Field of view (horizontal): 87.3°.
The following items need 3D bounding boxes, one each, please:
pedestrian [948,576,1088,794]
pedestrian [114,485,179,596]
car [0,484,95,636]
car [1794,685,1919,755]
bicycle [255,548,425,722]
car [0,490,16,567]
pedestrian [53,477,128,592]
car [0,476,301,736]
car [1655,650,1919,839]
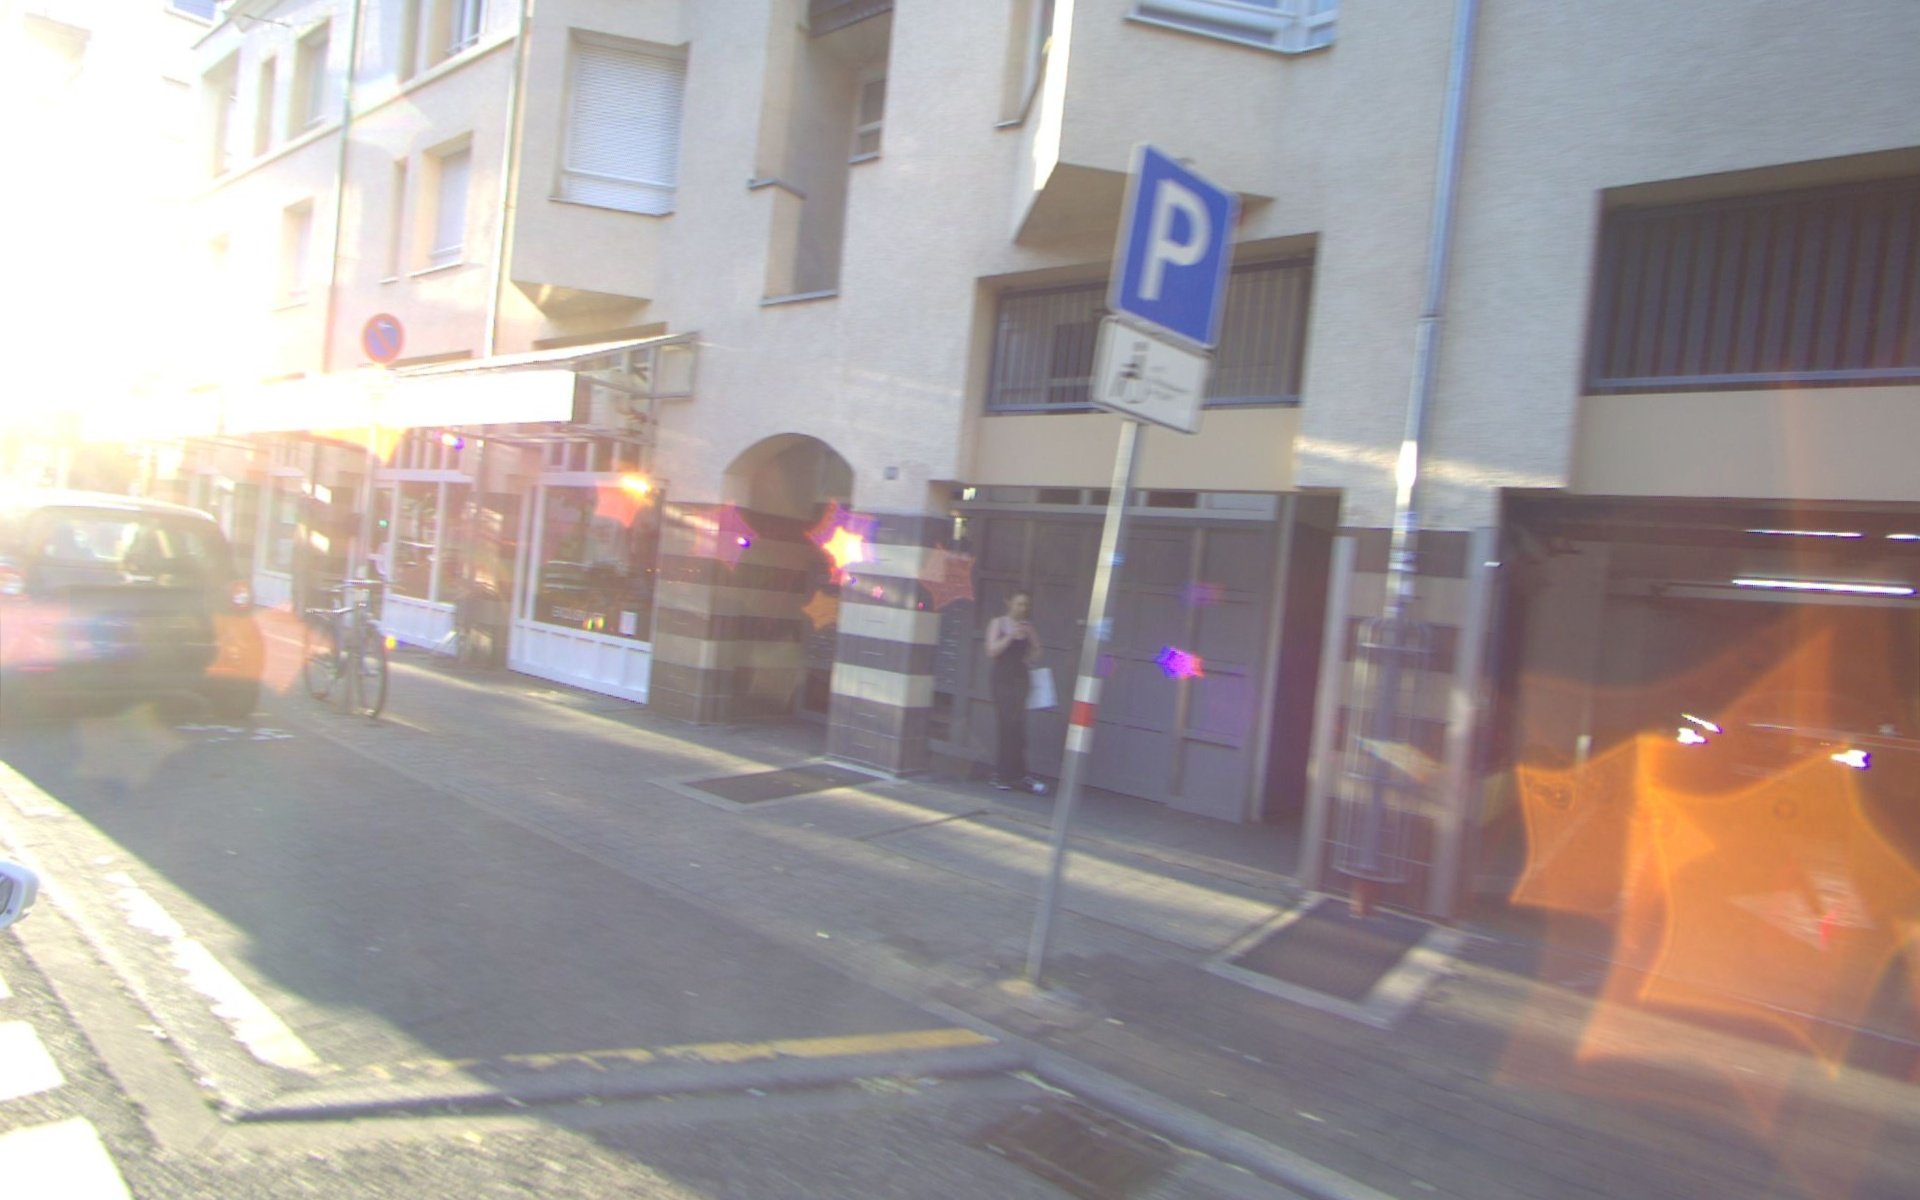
[{"bbox_3d":[0.446,0.659,7.834,0.768,1.592,0.530,6,1,-25],"label":"pedestrian"},{"bbox_3d":[-13.374,-0.978,16.541,0.819,1.722,0.559,7,2,37],"label":"pedestrian"},{"bbox_3d":[-11.907,-0.621,11.793,3.728,1.600,1.789,7,1,36],"label":"car"},{"bbox_3d":[25.087,3.258,27.309,1.578,1.409,3.879,6,1,1],"label":"car"},{"bbox_3d":[-5.239,0.253,8.439,1.949,1.221,0.557,7,1,40],"label":"bicycle"},{"bbox_3d":[-22.315,-1.761,20.539,1.845,1.717,4.322,7,-1,-1],"label":"car"},{"bbox_3d":[-13.938,-1.052,16.121,1.024,1.722,0.629,7,2,37],"label":"pedestrian"},{"bbox_3d":[-7.071,-0.086,7.913,3.905,1.600,1.789,7,1,36],"label":"car"},{"bbox_3d":[9.559,1.522,11.483,4.222,1.593,1.796,5,0,-44],"label":"car"}]
